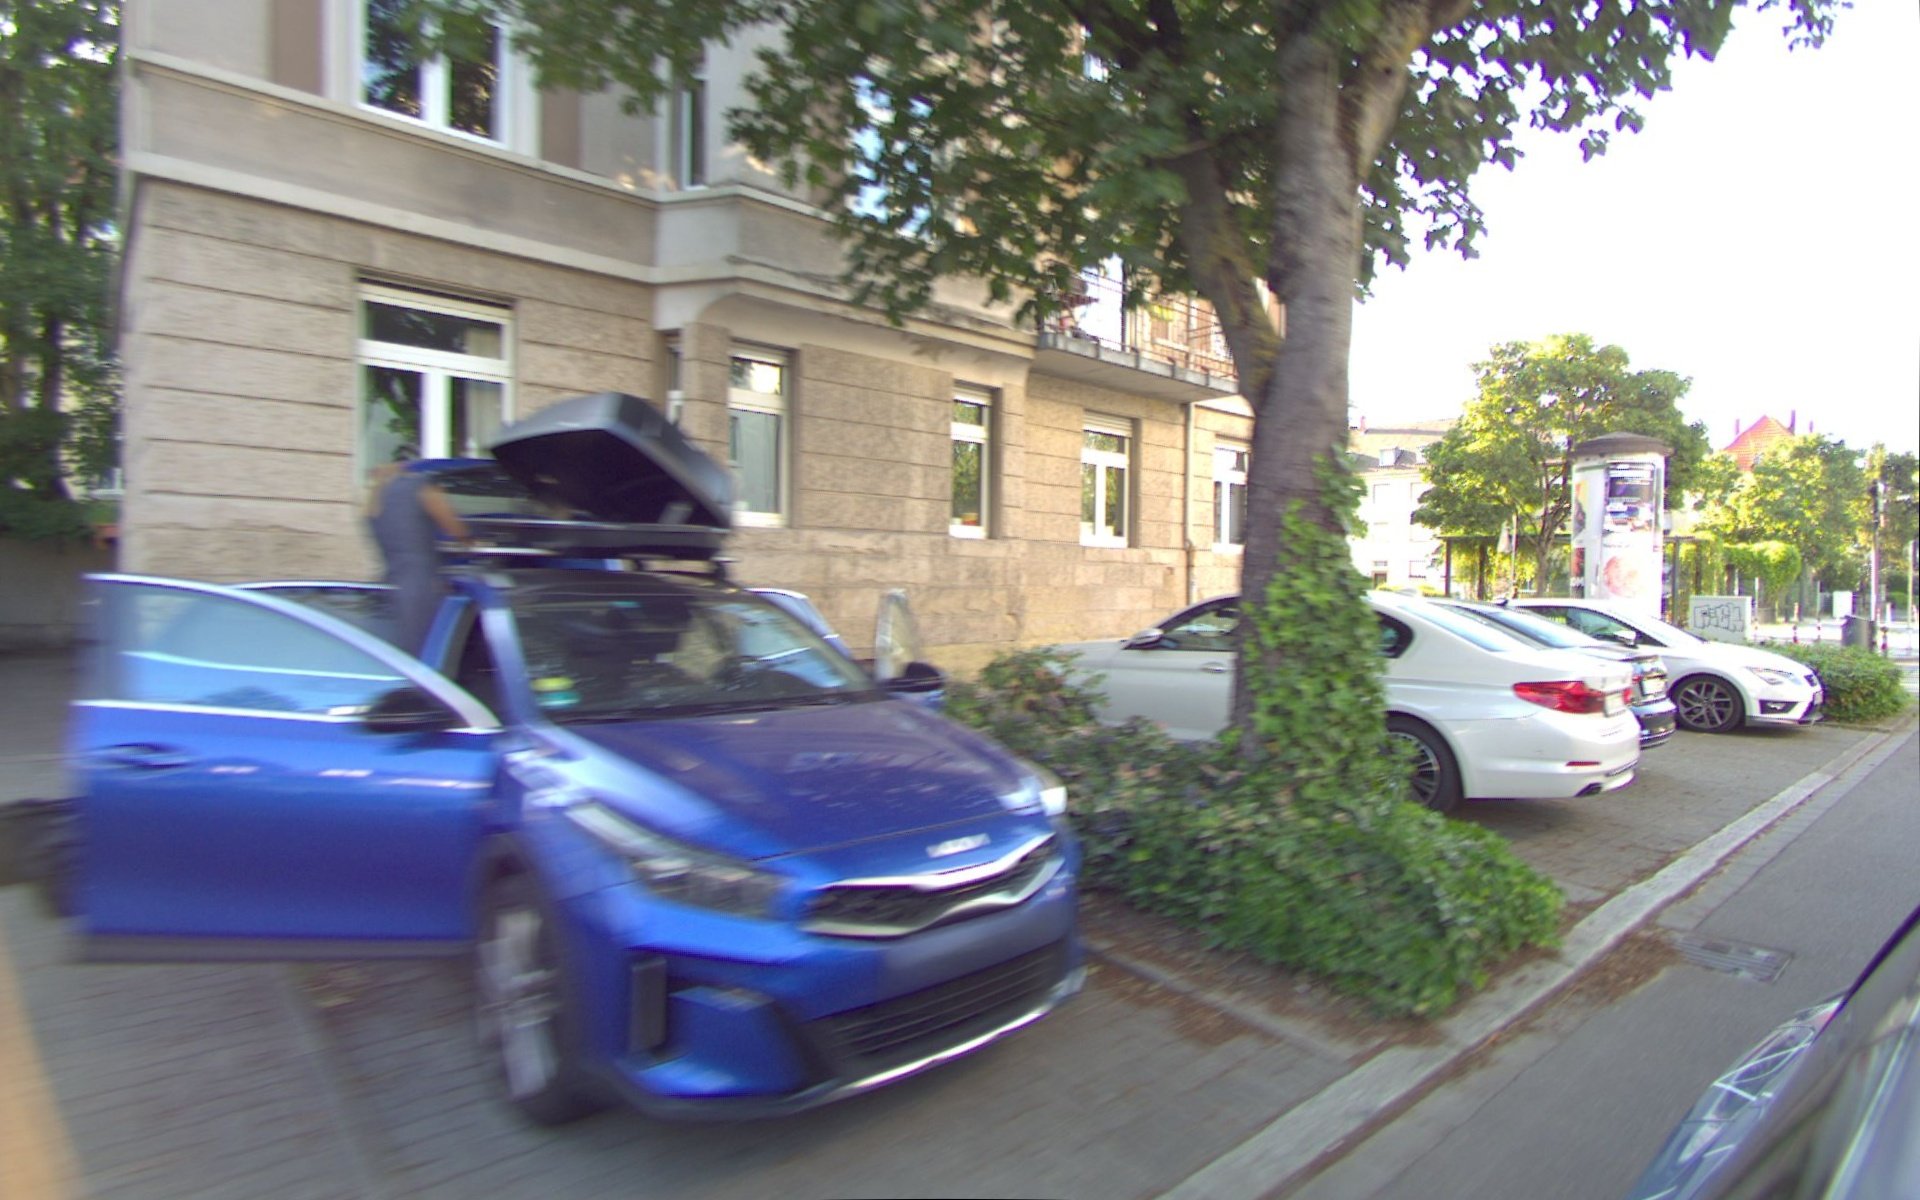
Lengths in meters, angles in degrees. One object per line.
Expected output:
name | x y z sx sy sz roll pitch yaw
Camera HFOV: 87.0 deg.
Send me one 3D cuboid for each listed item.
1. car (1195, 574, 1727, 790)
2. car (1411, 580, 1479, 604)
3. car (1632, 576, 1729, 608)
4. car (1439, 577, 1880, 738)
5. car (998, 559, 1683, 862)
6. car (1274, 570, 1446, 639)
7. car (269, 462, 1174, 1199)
car | 4.446 0.556 9.515 1.644 1.465 4.150 0 3 -42
car | 32.548 -0.572 67.980 1.705 1.537 3.754 0 2 -41
car | 41.017 -0.487 57.666 1.792 1.662 4.207 3 -1 -43
car | 8.232 0.530 12.200 1.830 1.524 4.055 0 2 -42
car | 2.619 0.544 7.735 4.478 1.544 1.923 4 2 44
car | 11.081 0.100 28.219 1.781 1.763 4.079 2 0 -43
car | -1.508 0.468 4.337 1.842 1.661 4.534 0 2 -42
